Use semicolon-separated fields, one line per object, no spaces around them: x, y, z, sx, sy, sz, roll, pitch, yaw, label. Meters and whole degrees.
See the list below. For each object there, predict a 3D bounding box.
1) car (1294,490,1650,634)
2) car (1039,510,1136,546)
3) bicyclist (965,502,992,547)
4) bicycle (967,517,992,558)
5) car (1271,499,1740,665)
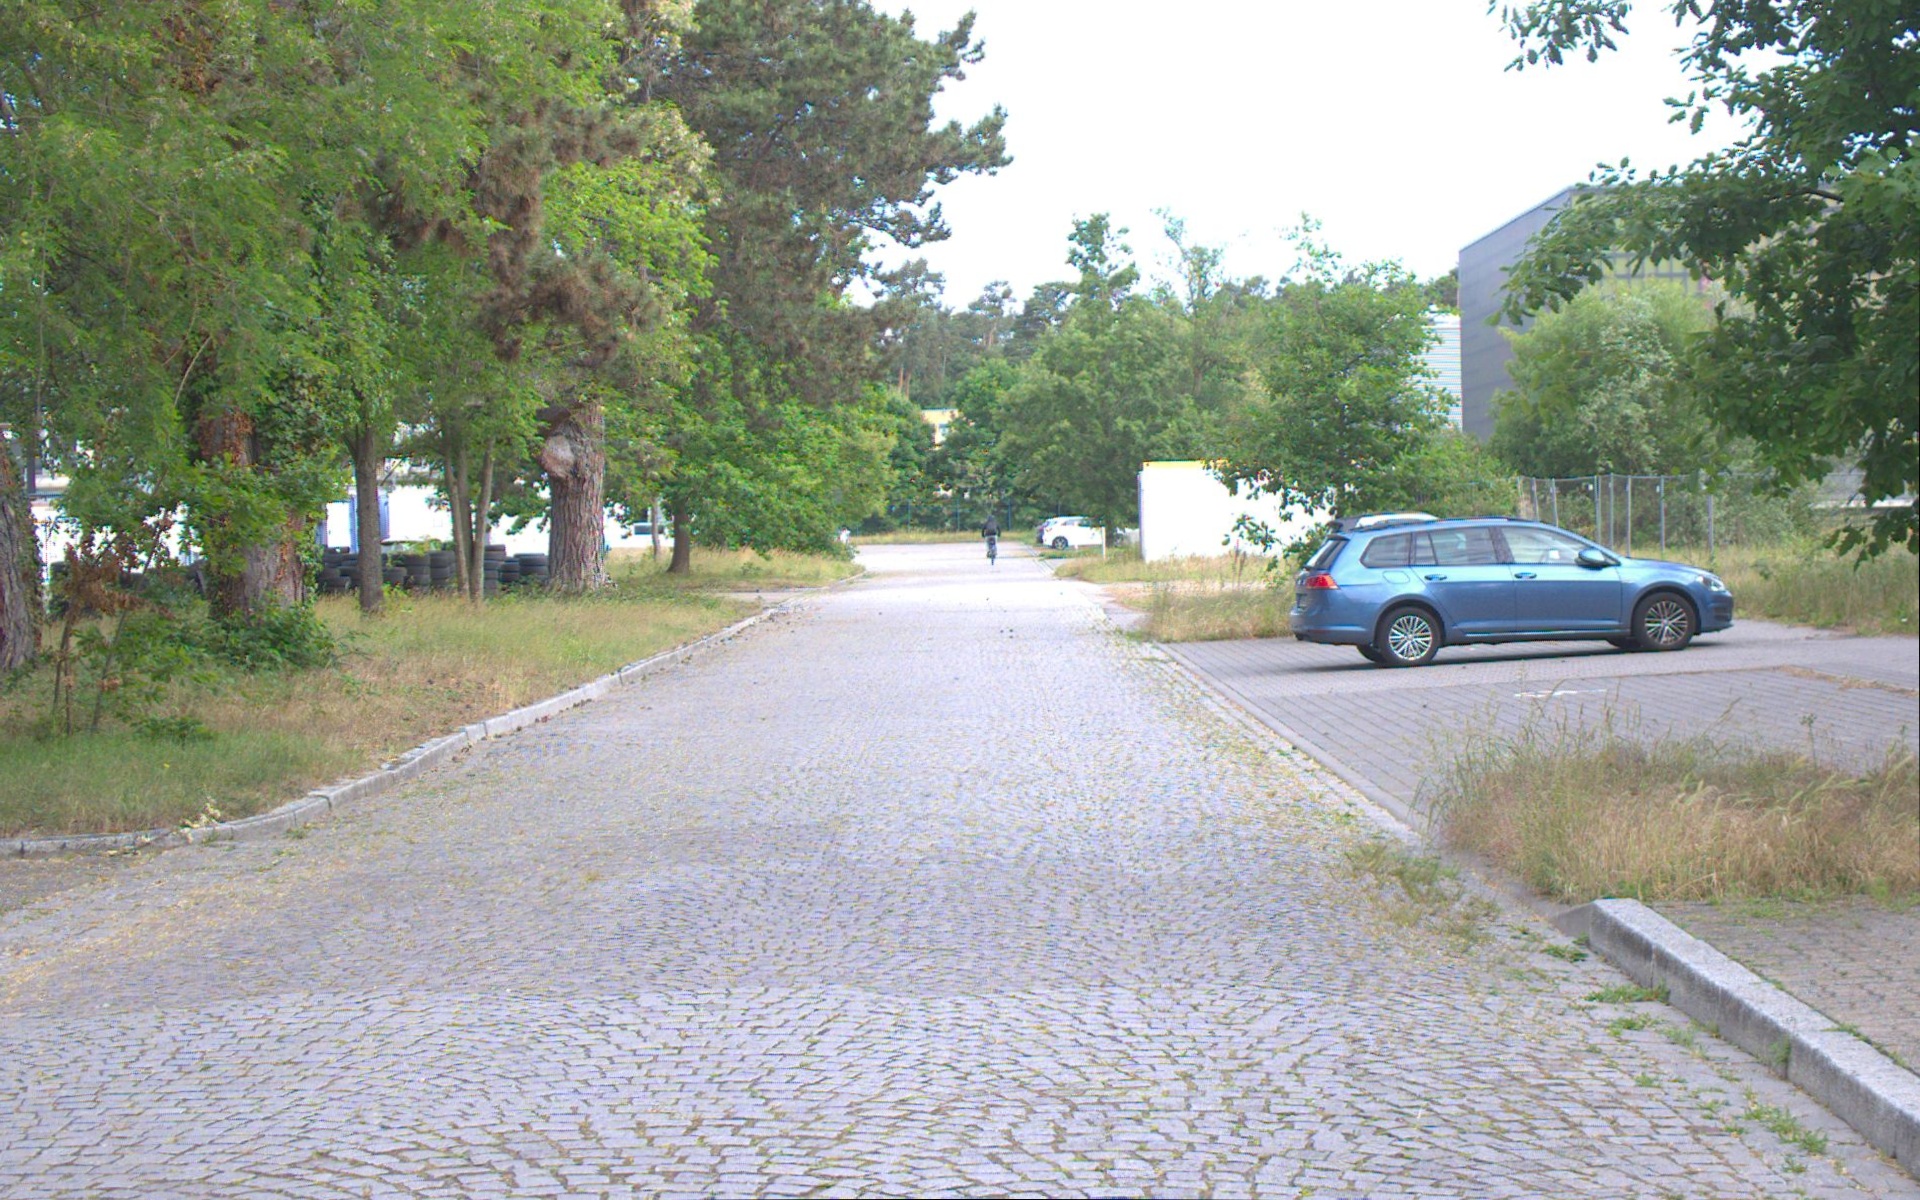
6.403;-0.493;43.278;4.107;1.567;1.765;-3;1;-2;car
5.761;-3.277;155.634;4.322;1.544;2.000;-1;1;2;car
0.656;-2.661;120.827;0.897;1.536;0.868;-1;2;-1;bicyclist
0.669;-2.213;120.808;0.823;1.372;2.043;-1;3;-1;bicycle
5.627;-0.209;35.837;4.480;1.457;1.935;-3;1;-2;car
